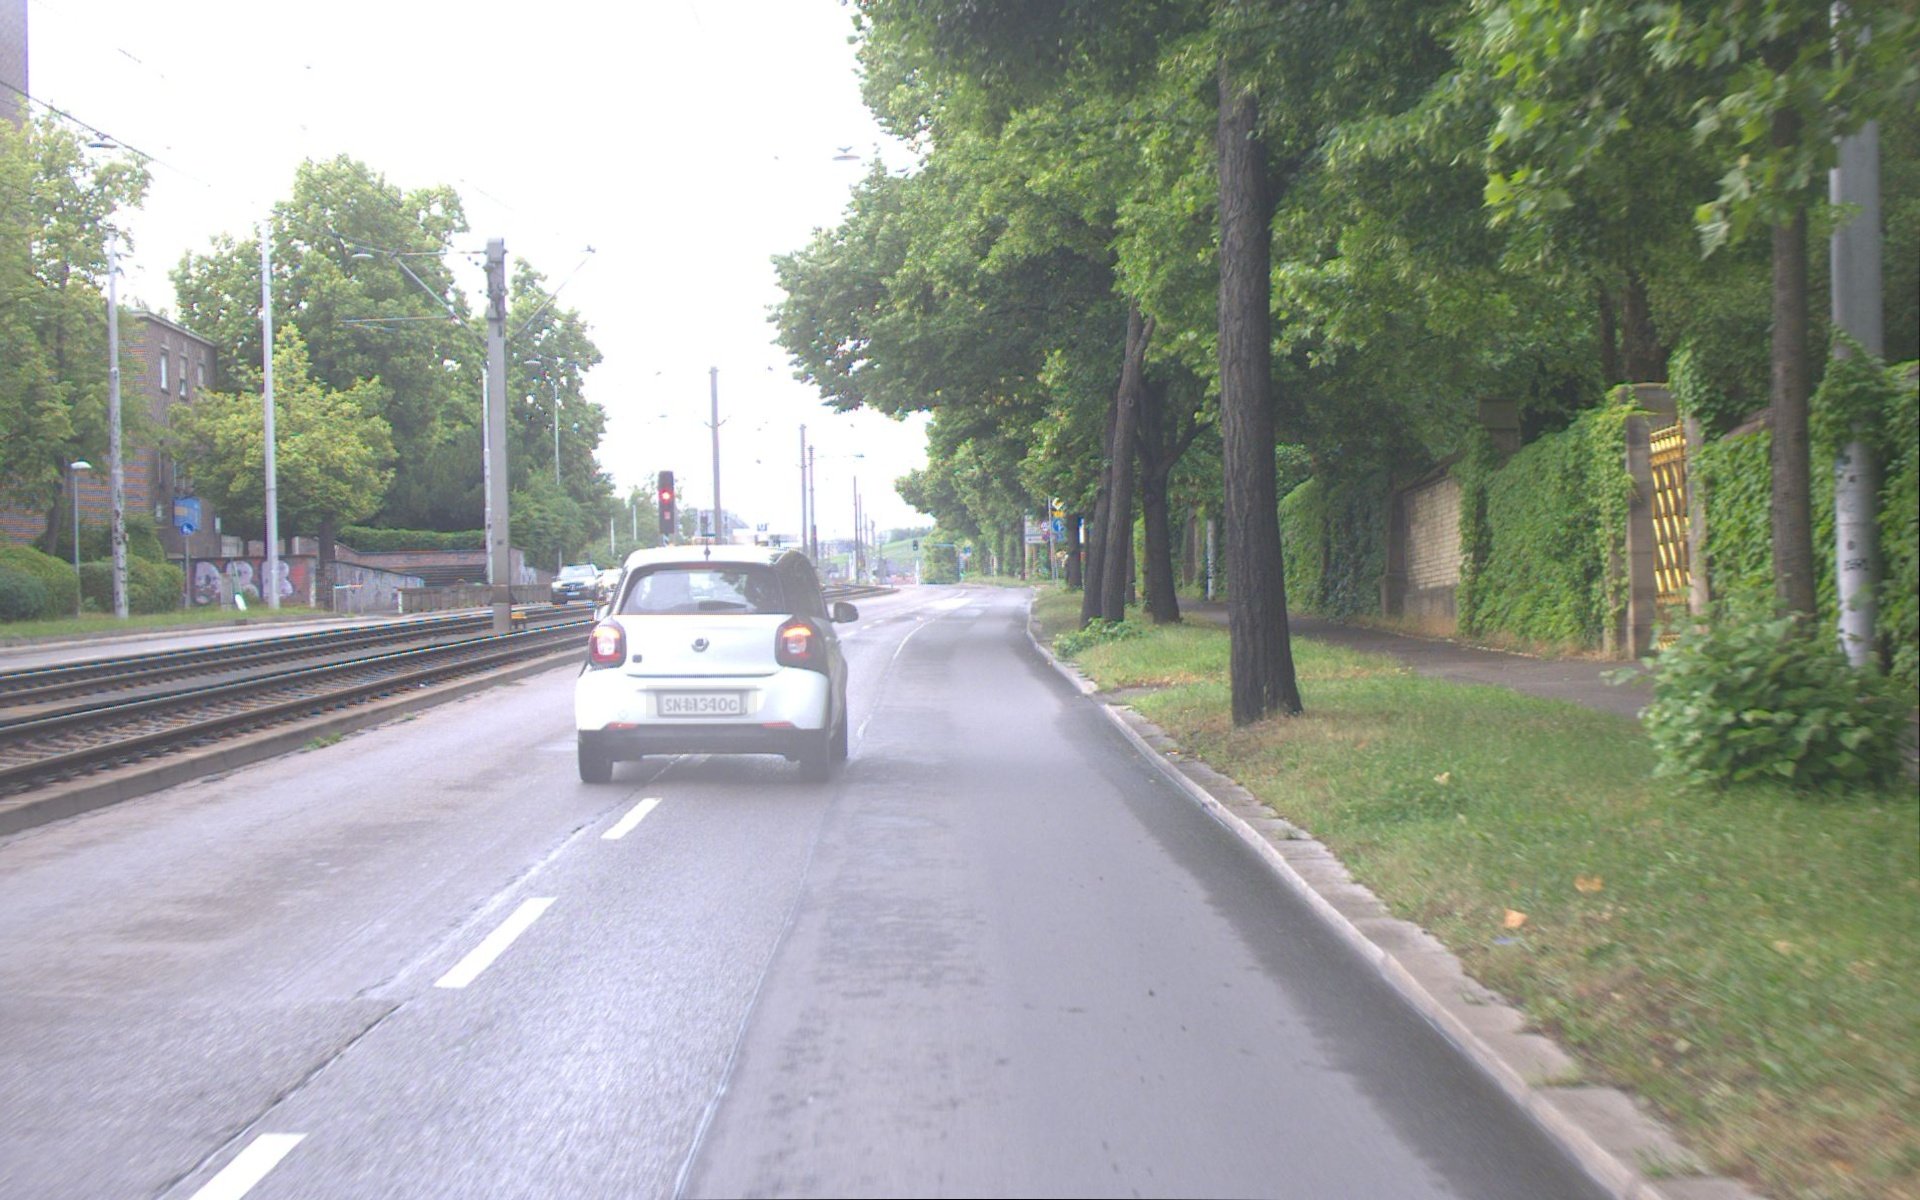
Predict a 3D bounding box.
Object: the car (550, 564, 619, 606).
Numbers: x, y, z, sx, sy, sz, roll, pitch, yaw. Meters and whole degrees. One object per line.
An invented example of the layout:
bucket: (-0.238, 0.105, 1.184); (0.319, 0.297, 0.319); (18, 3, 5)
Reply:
car: (-15.366, -0.619, 140.778); (2.013, 1.650, 4.616); (-1, 1, 4)

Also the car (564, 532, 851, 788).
car: (-1.649, 0.341, 23.510); (1.676, 1.525, 3.722); (2, 1, -1)

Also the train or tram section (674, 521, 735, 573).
train or tram section: (-17.936, -3.722, 241.148); (2.831, 3.593, 9.273); (0, 1, -13)

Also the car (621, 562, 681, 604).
car: (-12.819, -0.726, 142.964); (1.835, 1.650, 4.239); (-1, 1, 4)
